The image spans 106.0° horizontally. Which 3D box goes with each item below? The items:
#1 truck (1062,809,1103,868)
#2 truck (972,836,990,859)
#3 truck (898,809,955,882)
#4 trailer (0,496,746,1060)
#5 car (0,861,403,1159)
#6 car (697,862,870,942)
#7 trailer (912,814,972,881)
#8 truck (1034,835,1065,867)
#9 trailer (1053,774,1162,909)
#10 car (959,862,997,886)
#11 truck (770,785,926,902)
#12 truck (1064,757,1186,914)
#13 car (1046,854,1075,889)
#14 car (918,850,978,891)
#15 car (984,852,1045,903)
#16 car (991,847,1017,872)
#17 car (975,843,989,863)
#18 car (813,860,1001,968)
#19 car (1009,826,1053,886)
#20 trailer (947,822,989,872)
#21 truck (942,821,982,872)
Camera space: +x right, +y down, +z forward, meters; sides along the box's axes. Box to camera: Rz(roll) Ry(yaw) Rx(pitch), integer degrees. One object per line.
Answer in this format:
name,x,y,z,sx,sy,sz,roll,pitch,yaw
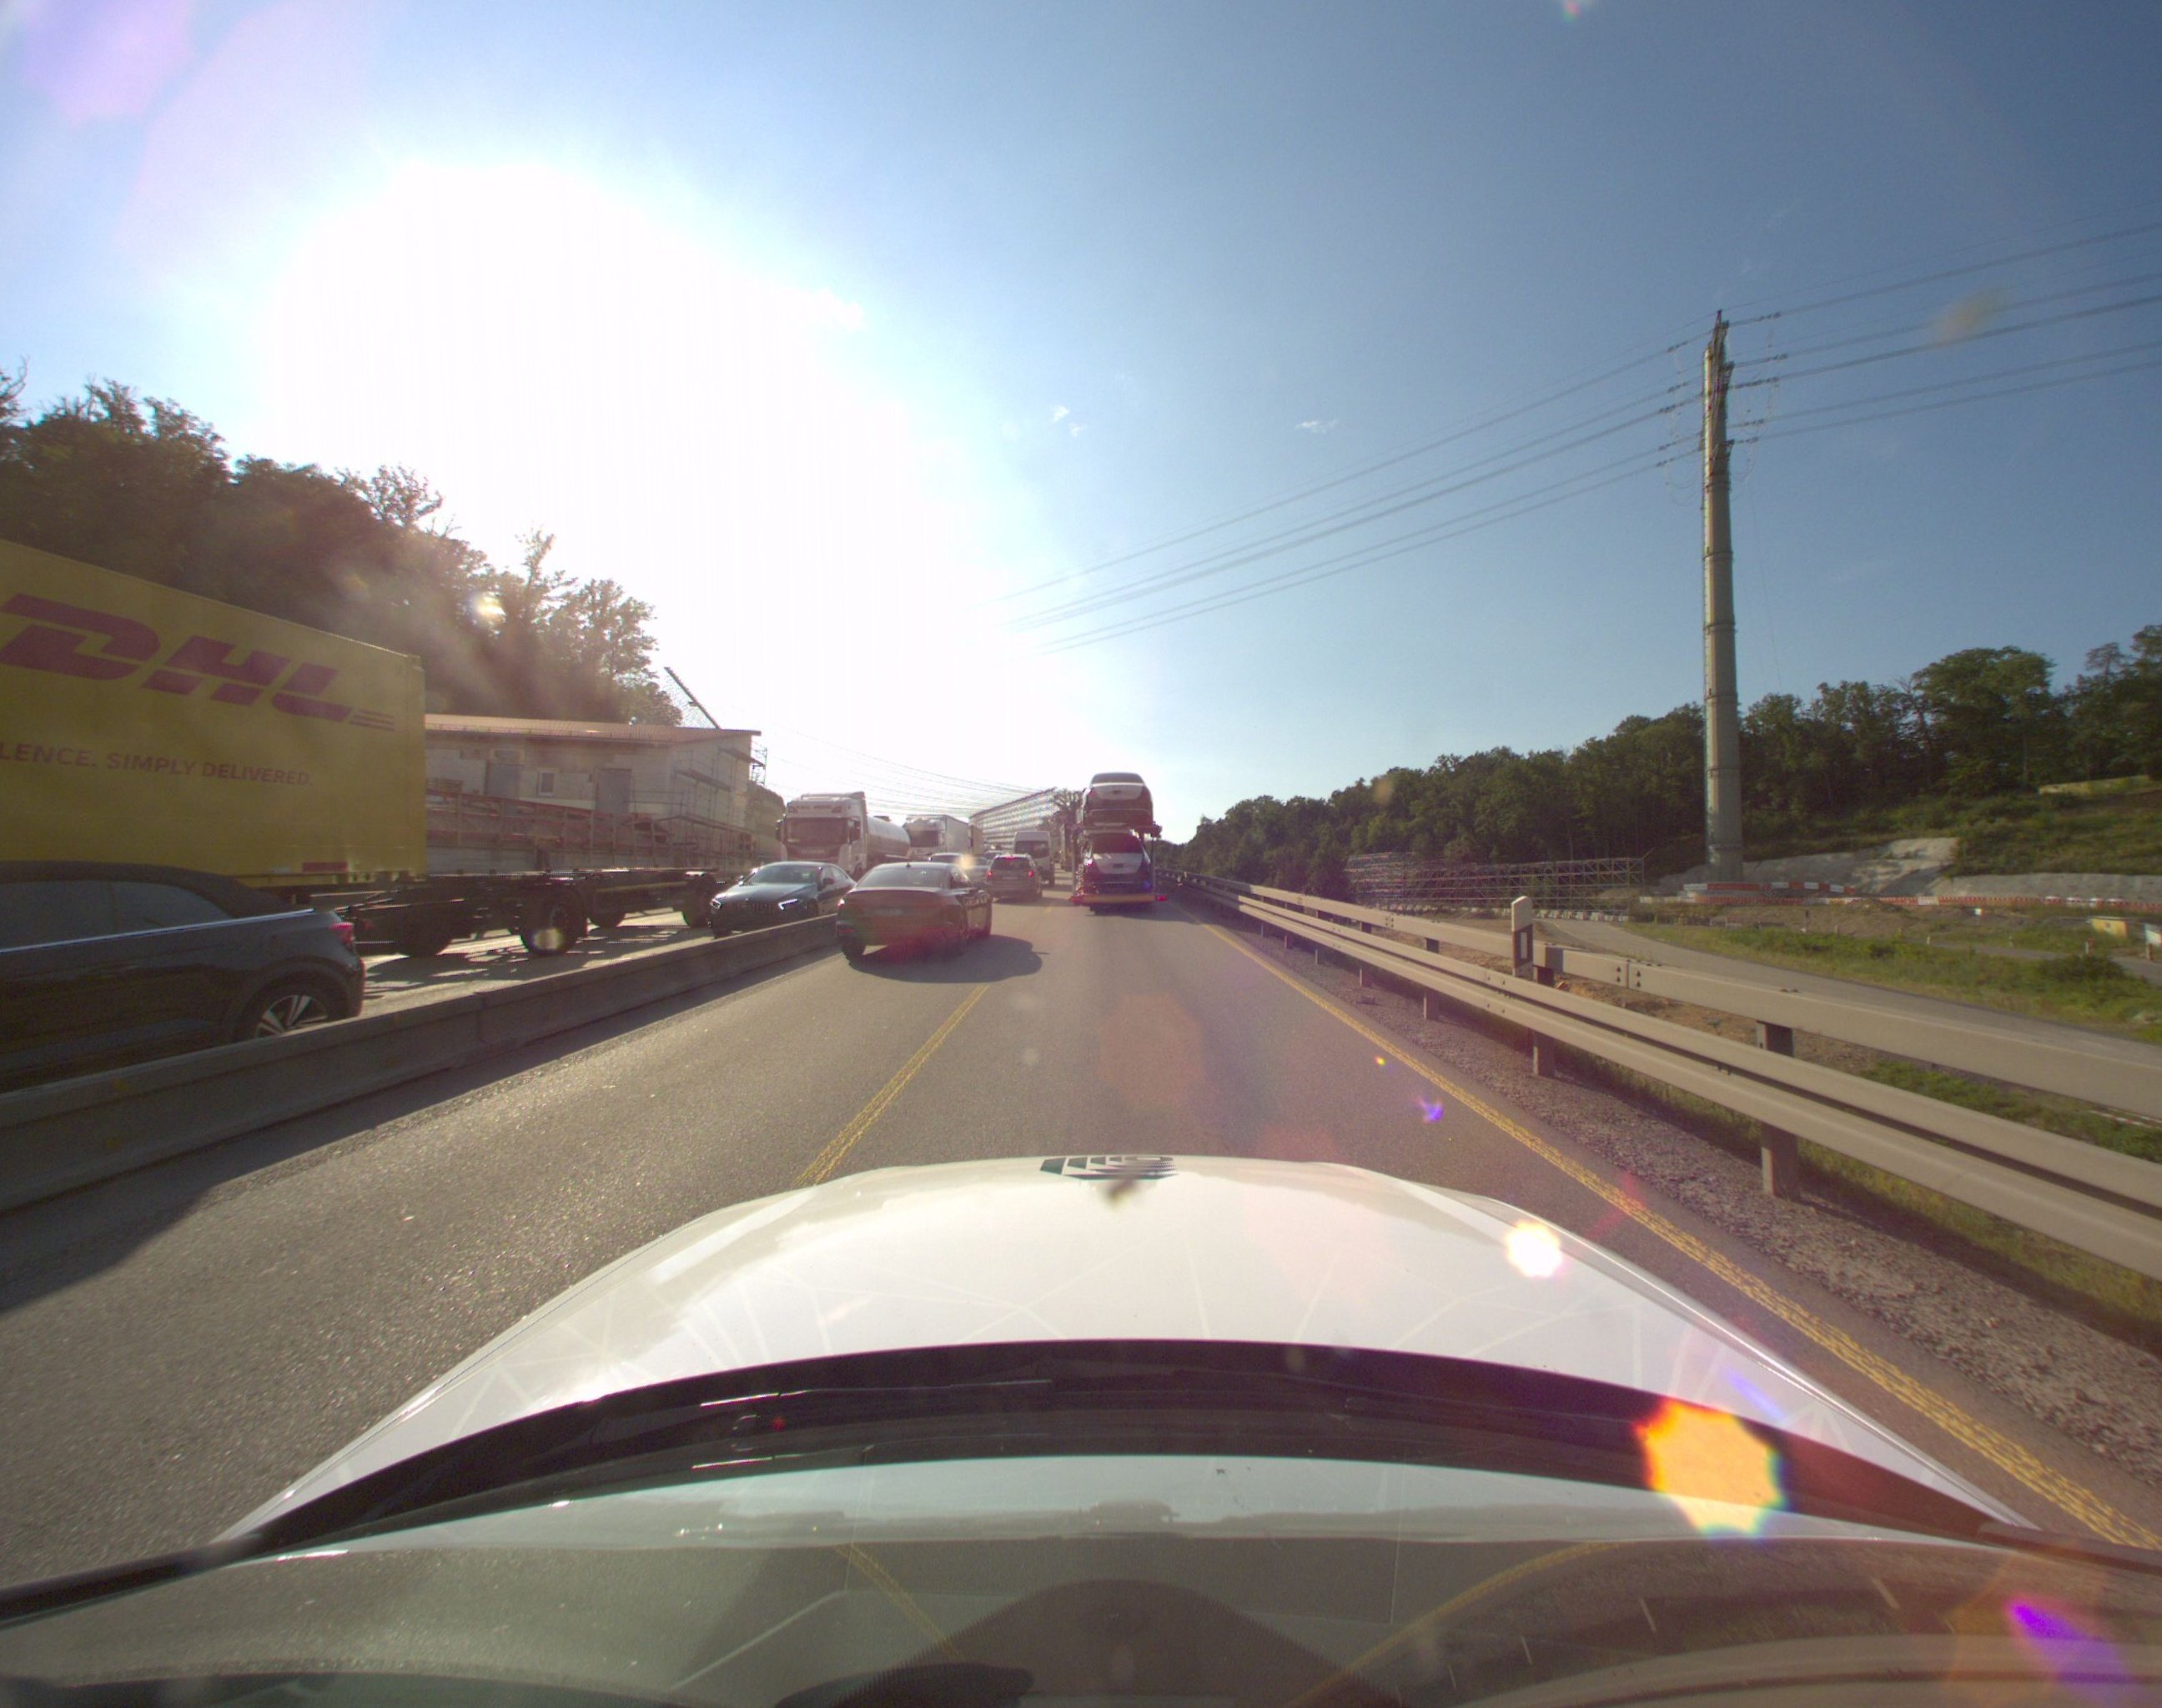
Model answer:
truck,-0.020,-1.251,71.243,3.220,4.677,11.686,-1,0,-2
truck,-17.797,-1.195,145.068,2.636,3.995,9.016,-1,0,-4
truck,-9.578,-0.427,51.139,2.437,4.272,6.317,-1,-1,-1
trailer,-9.274,-0.451,10.768,2.691,4.204,16.000,-1,-1,1
car,-6.330,0.812,4.351,1.710,1.508,4.293,-1,-1,2
car,-5.983,0.905,17.101,1.733,1.402,4.903,-1,-1,1
trailer,-9.753,-0.266,58.446,2.446,4.266,12.137,-1,-1,-1
truck,-4.931,-0.450,124.812,3.646,4.677,11.664,-1,0,-8
trailer,0.543,-0.228,32.069,2.868,3.994,15.259,-1,-1,-3
car,-5.984,1.147,47.646,1.706,1.253,4.049,-2,-1,-1
truck,-9.310,-0.383,34.931,2.800,3.970,13.888,-1,0,-1
truck,1.058,-0.426,23.672,2.864,3.980,5.764,-1,-1,-3
car,-1.293,1.050,49.450,1.664,1.985,3.814,-1,-1,-2
car,-5.892,0.727,36.486,1.840,1.648,4.559,-2,-1,1
car,-2.230,0.800,28.250,1.695,1.587,4.146,-1,-1,0
car,-6.145,0.420,65.716,1.828,1.917,4.860,-1,0,-2
car,-13.871,-0.107,114.436,1.665,2.765,4.952,-1,0,-4
car,-2.730,0.887,14.148,1.933,1.480,5.224,-2,-1,2
car,-2.410,0.143,39.330,1.975,2.684,4.141,-1,-1,-4
trailer,-10.879,-0.474,79.837,2.887,4.394,14.361,-1,-1,-3
truck,-10.480,-0.555,72.285,2.887,4.272,5.764,-1,-1,-3
